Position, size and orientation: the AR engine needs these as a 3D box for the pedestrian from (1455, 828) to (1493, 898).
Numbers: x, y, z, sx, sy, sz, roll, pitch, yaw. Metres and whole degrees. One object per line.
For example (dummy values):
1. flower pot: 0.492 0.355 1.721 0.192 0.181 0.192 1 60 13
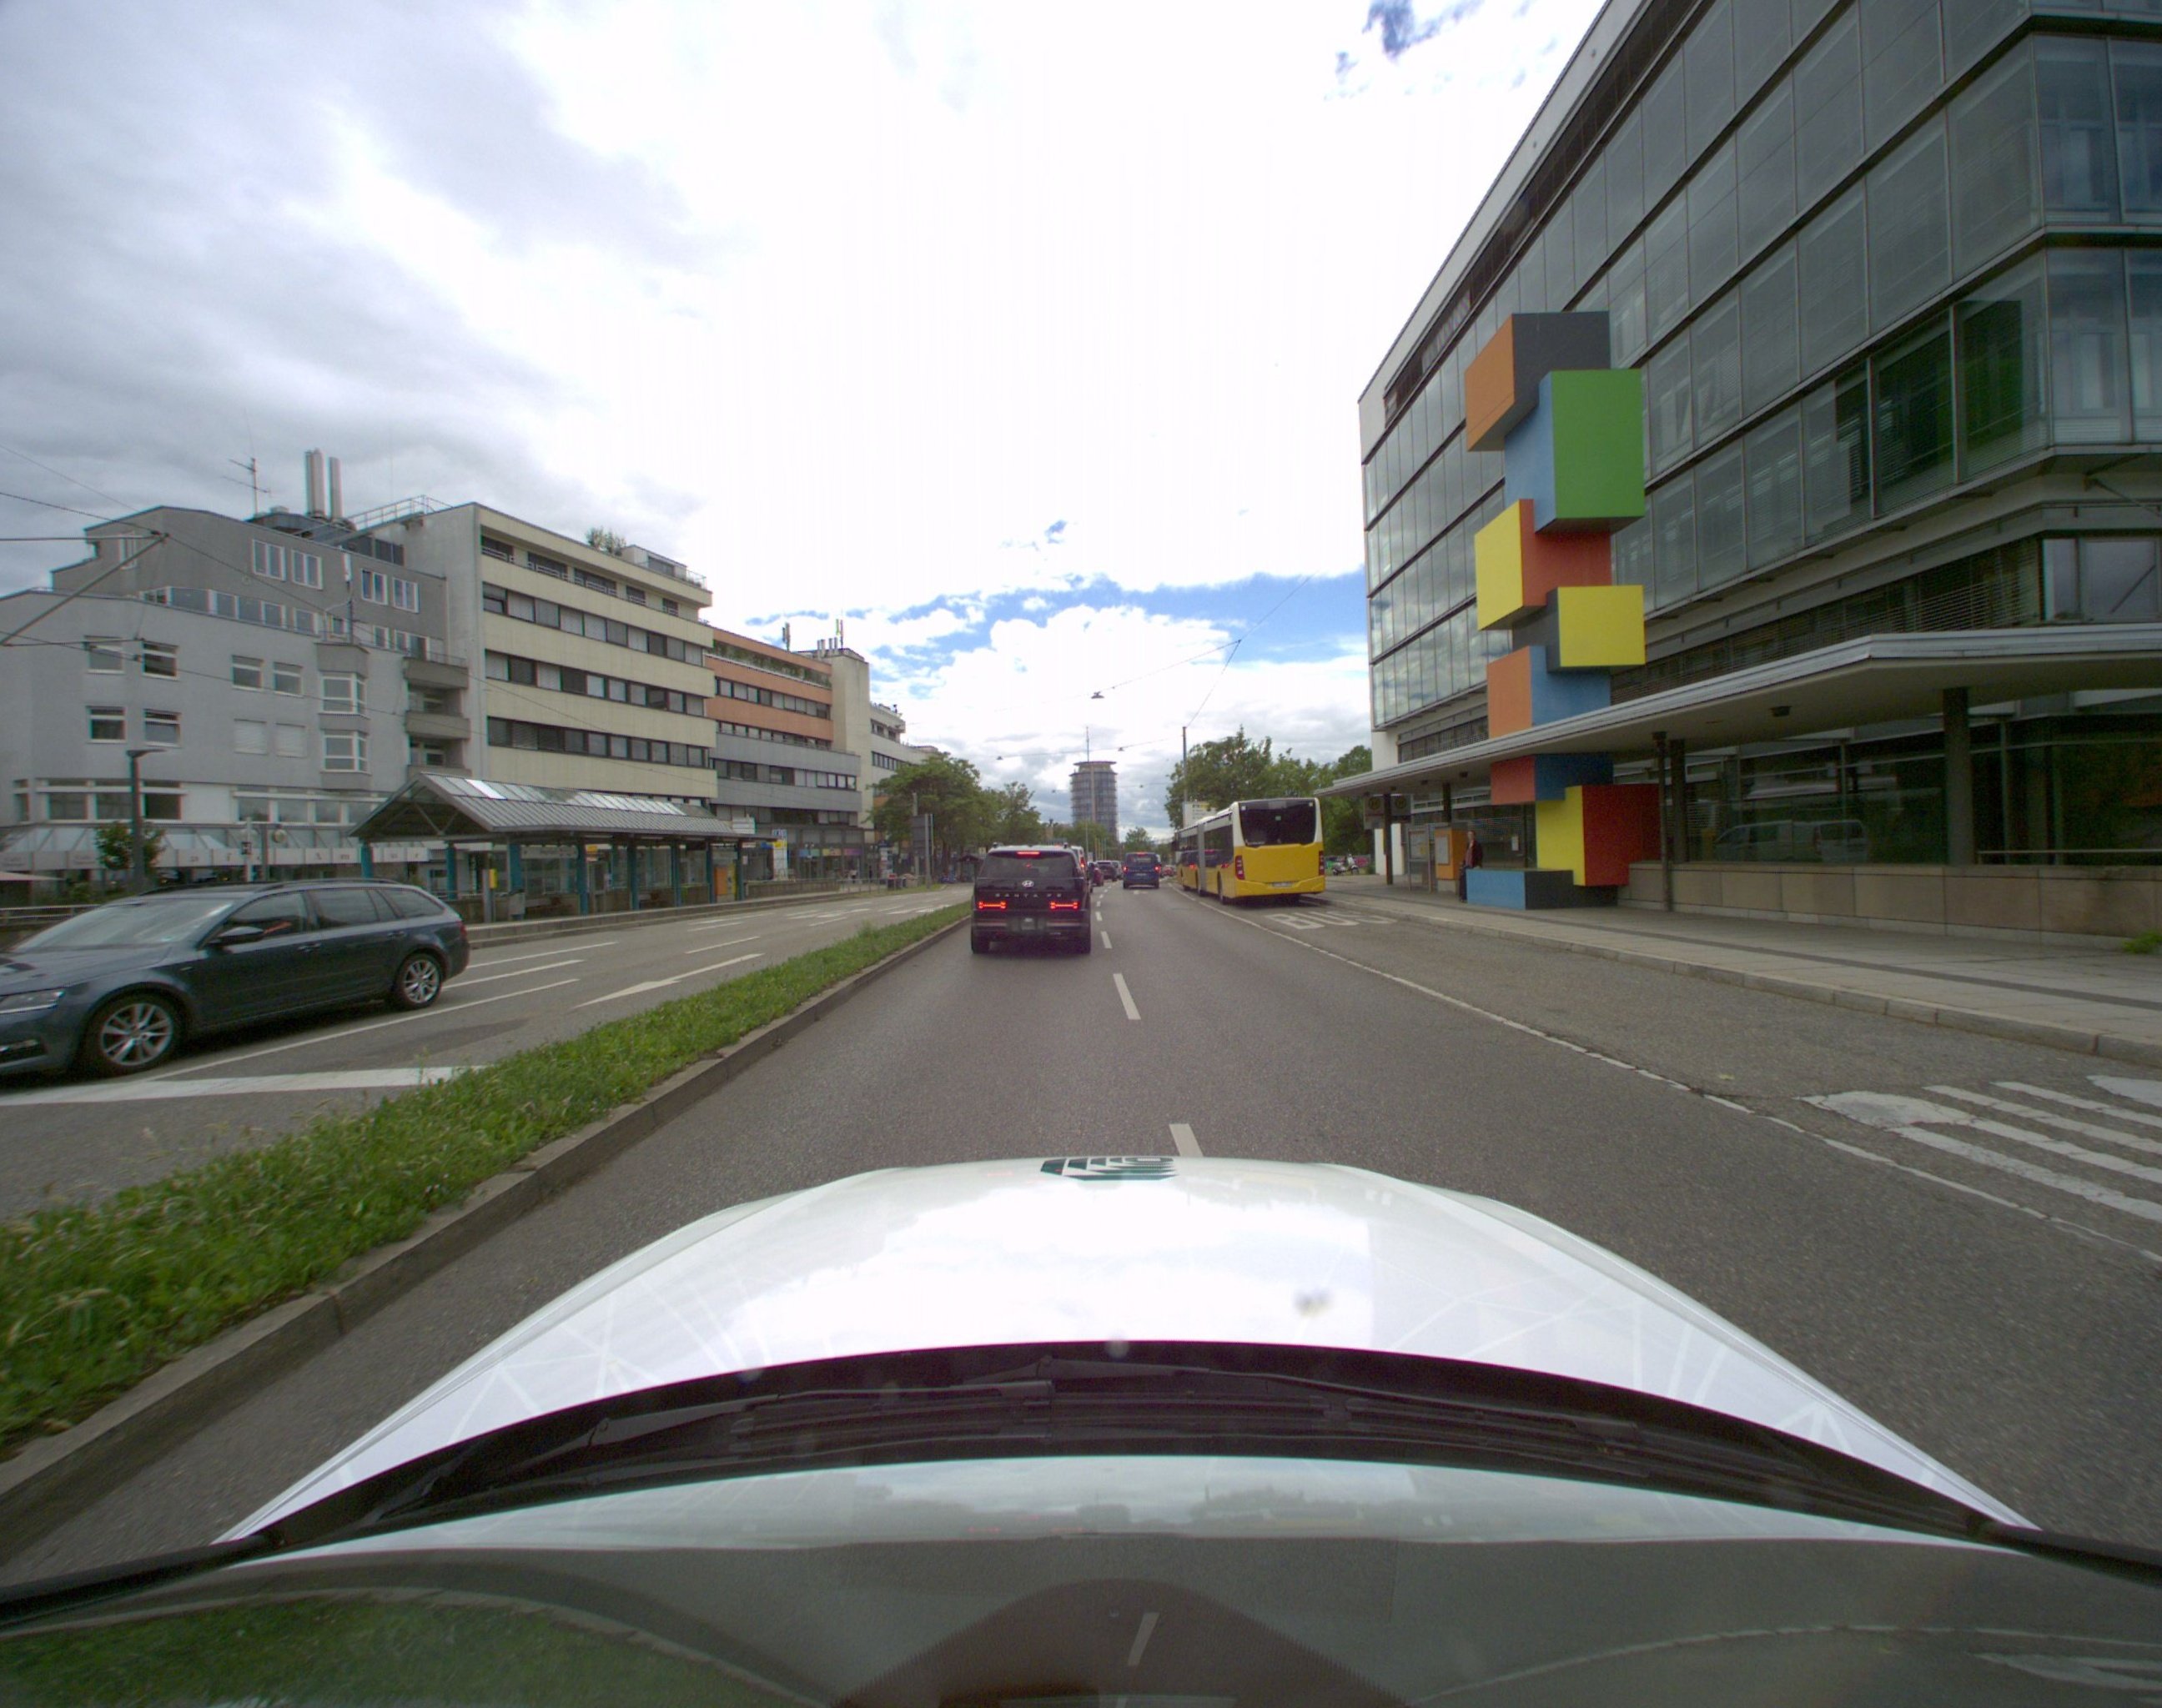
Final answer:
1. pedestrian: 9.619 0.213 19.964 0.522 1.673 0.733 -2 0 1

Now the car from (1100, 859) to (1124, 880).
1. car: 2.995 1.411 77.514 1.892 1.834 4.717 0 1 6

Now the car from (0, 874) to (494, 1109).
1. car: -8.089 0.998 7.651 1.793 1.455 4.610 -2 0 -1

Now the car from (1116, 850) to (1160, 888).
1. car: 2.981 0.757 43.539 1.897 1.859 4.707 0 1 -1

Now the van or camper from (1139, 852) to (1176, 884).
1. van or camper: 5.185 0.923 55.619 1.988 1.917 4.406 -1 1 -2

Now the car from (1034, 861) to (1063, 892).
1. car: -2.233 1.523 56.926 1.897 1.929 4.707 0 1 -1

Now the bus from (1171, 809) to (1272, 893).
1. bus: 5.988 -0.093 36.483 2.941 3.111 9.980 -3 0 2

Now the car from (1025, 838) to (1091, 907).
1. car: -0.690 0.514 26.015 1.896 1.969 4.635 0 1 -1

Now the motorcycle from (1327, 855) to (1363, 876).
1. motorcycle: 13.944 0.607 43.062 0.637 1.070 1.758 -2 0 -39

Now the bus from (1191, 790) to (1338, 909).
1. bus: 5.657 -0.112 26.970 2.955 3.116 9.248 -3 0 2

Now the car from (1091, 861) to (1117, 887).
1. car: 1.761 1.535 63.753 1.895 1.859 4.710 0 1 1

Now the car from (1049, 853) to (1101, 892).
1. car: -0.348 0.771 35.965 1.899 1.542 4.701 -1 1 -5

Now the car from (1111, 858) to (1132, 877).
1. car: 4.457 1.453 88.997 1.892 1.834 4.717 -2 0 6

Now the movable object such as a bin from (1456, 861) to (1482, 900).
1. movable object such as a bin: 9.208 0.631 19.338 0.355 0.897 0.462 -2 0 1

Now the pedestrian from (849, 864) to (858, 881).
1. pedestrian: -22.789 1.888 81.443 0.729 1.673 0.581 -2 0 -6

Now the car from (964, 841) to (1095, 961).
1. car: -0.810 0.652 14.105 1.897 1.731 4.443 0 1 -2
